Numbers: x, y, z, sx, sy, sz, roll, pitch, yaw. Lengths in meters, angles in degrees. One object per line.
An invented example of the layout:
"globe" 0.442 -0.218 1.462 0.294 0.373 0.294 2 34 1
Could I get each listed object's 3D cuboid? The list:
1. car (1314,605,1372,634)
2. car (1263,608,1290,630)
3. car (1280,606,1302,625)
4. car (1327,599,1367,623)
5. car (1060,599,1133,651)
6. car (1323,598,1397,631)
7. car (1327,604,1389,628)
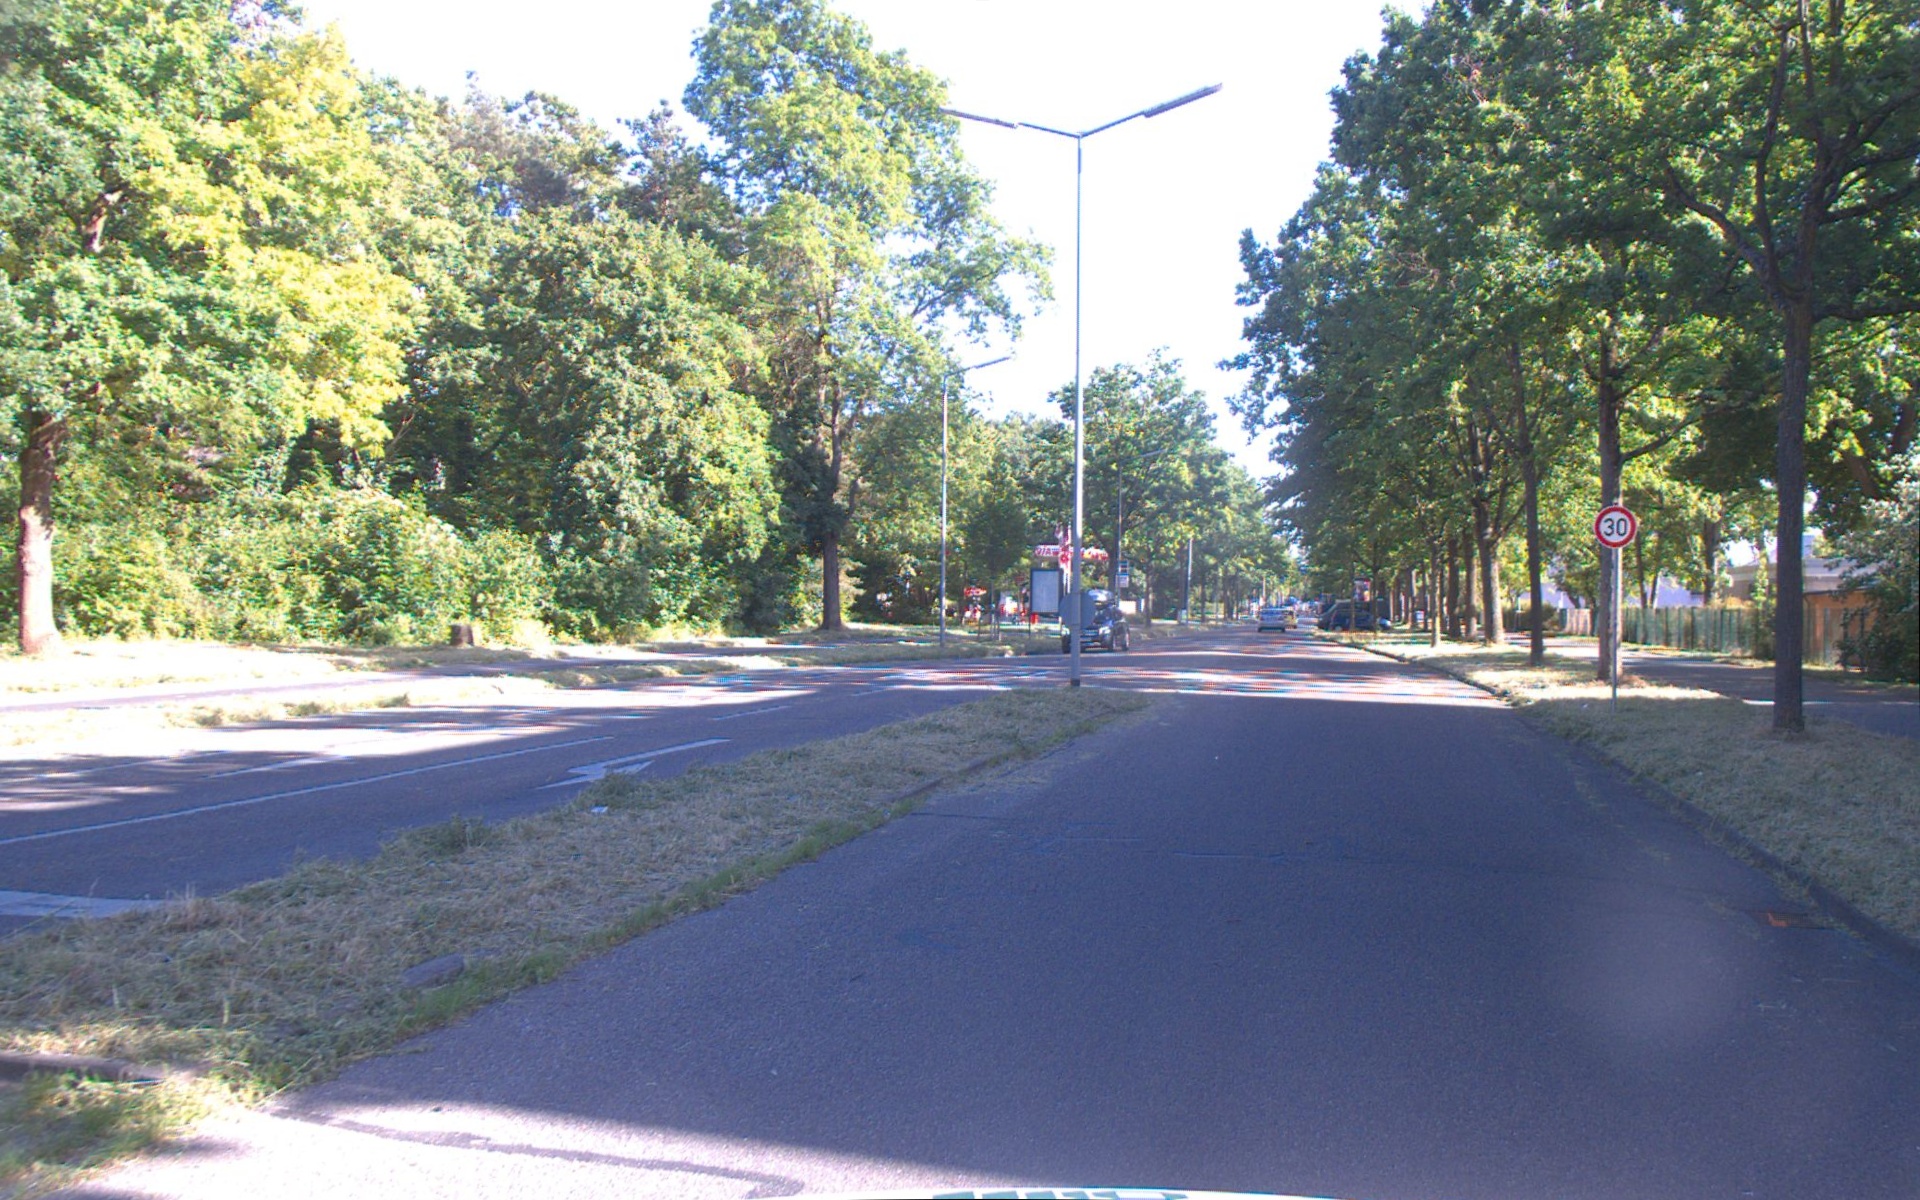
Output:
"car" 24.420 1.250 105.539 3.575 1.829 1.318 0 -2 11
"car" 19.718 1.194 103.115 1.625 1.360 3.668 0 -2 11
"car" 25.433 1.201 127.269 1.625 1.360 3.668 0 -2 11
"car" 35.289 1.029 151.030 3.491 2.087 1.634 0 -4 11
"car" 4.797 0.861 57.658 1.800 1.738 4.508 -1 -1 14
"car" 24.859 0.906 102.865 4.406 1.987 1.689 0 -2 11
"car" 24.065 0.971 100.031 3.575 1.423 1.318 0 -2 11
